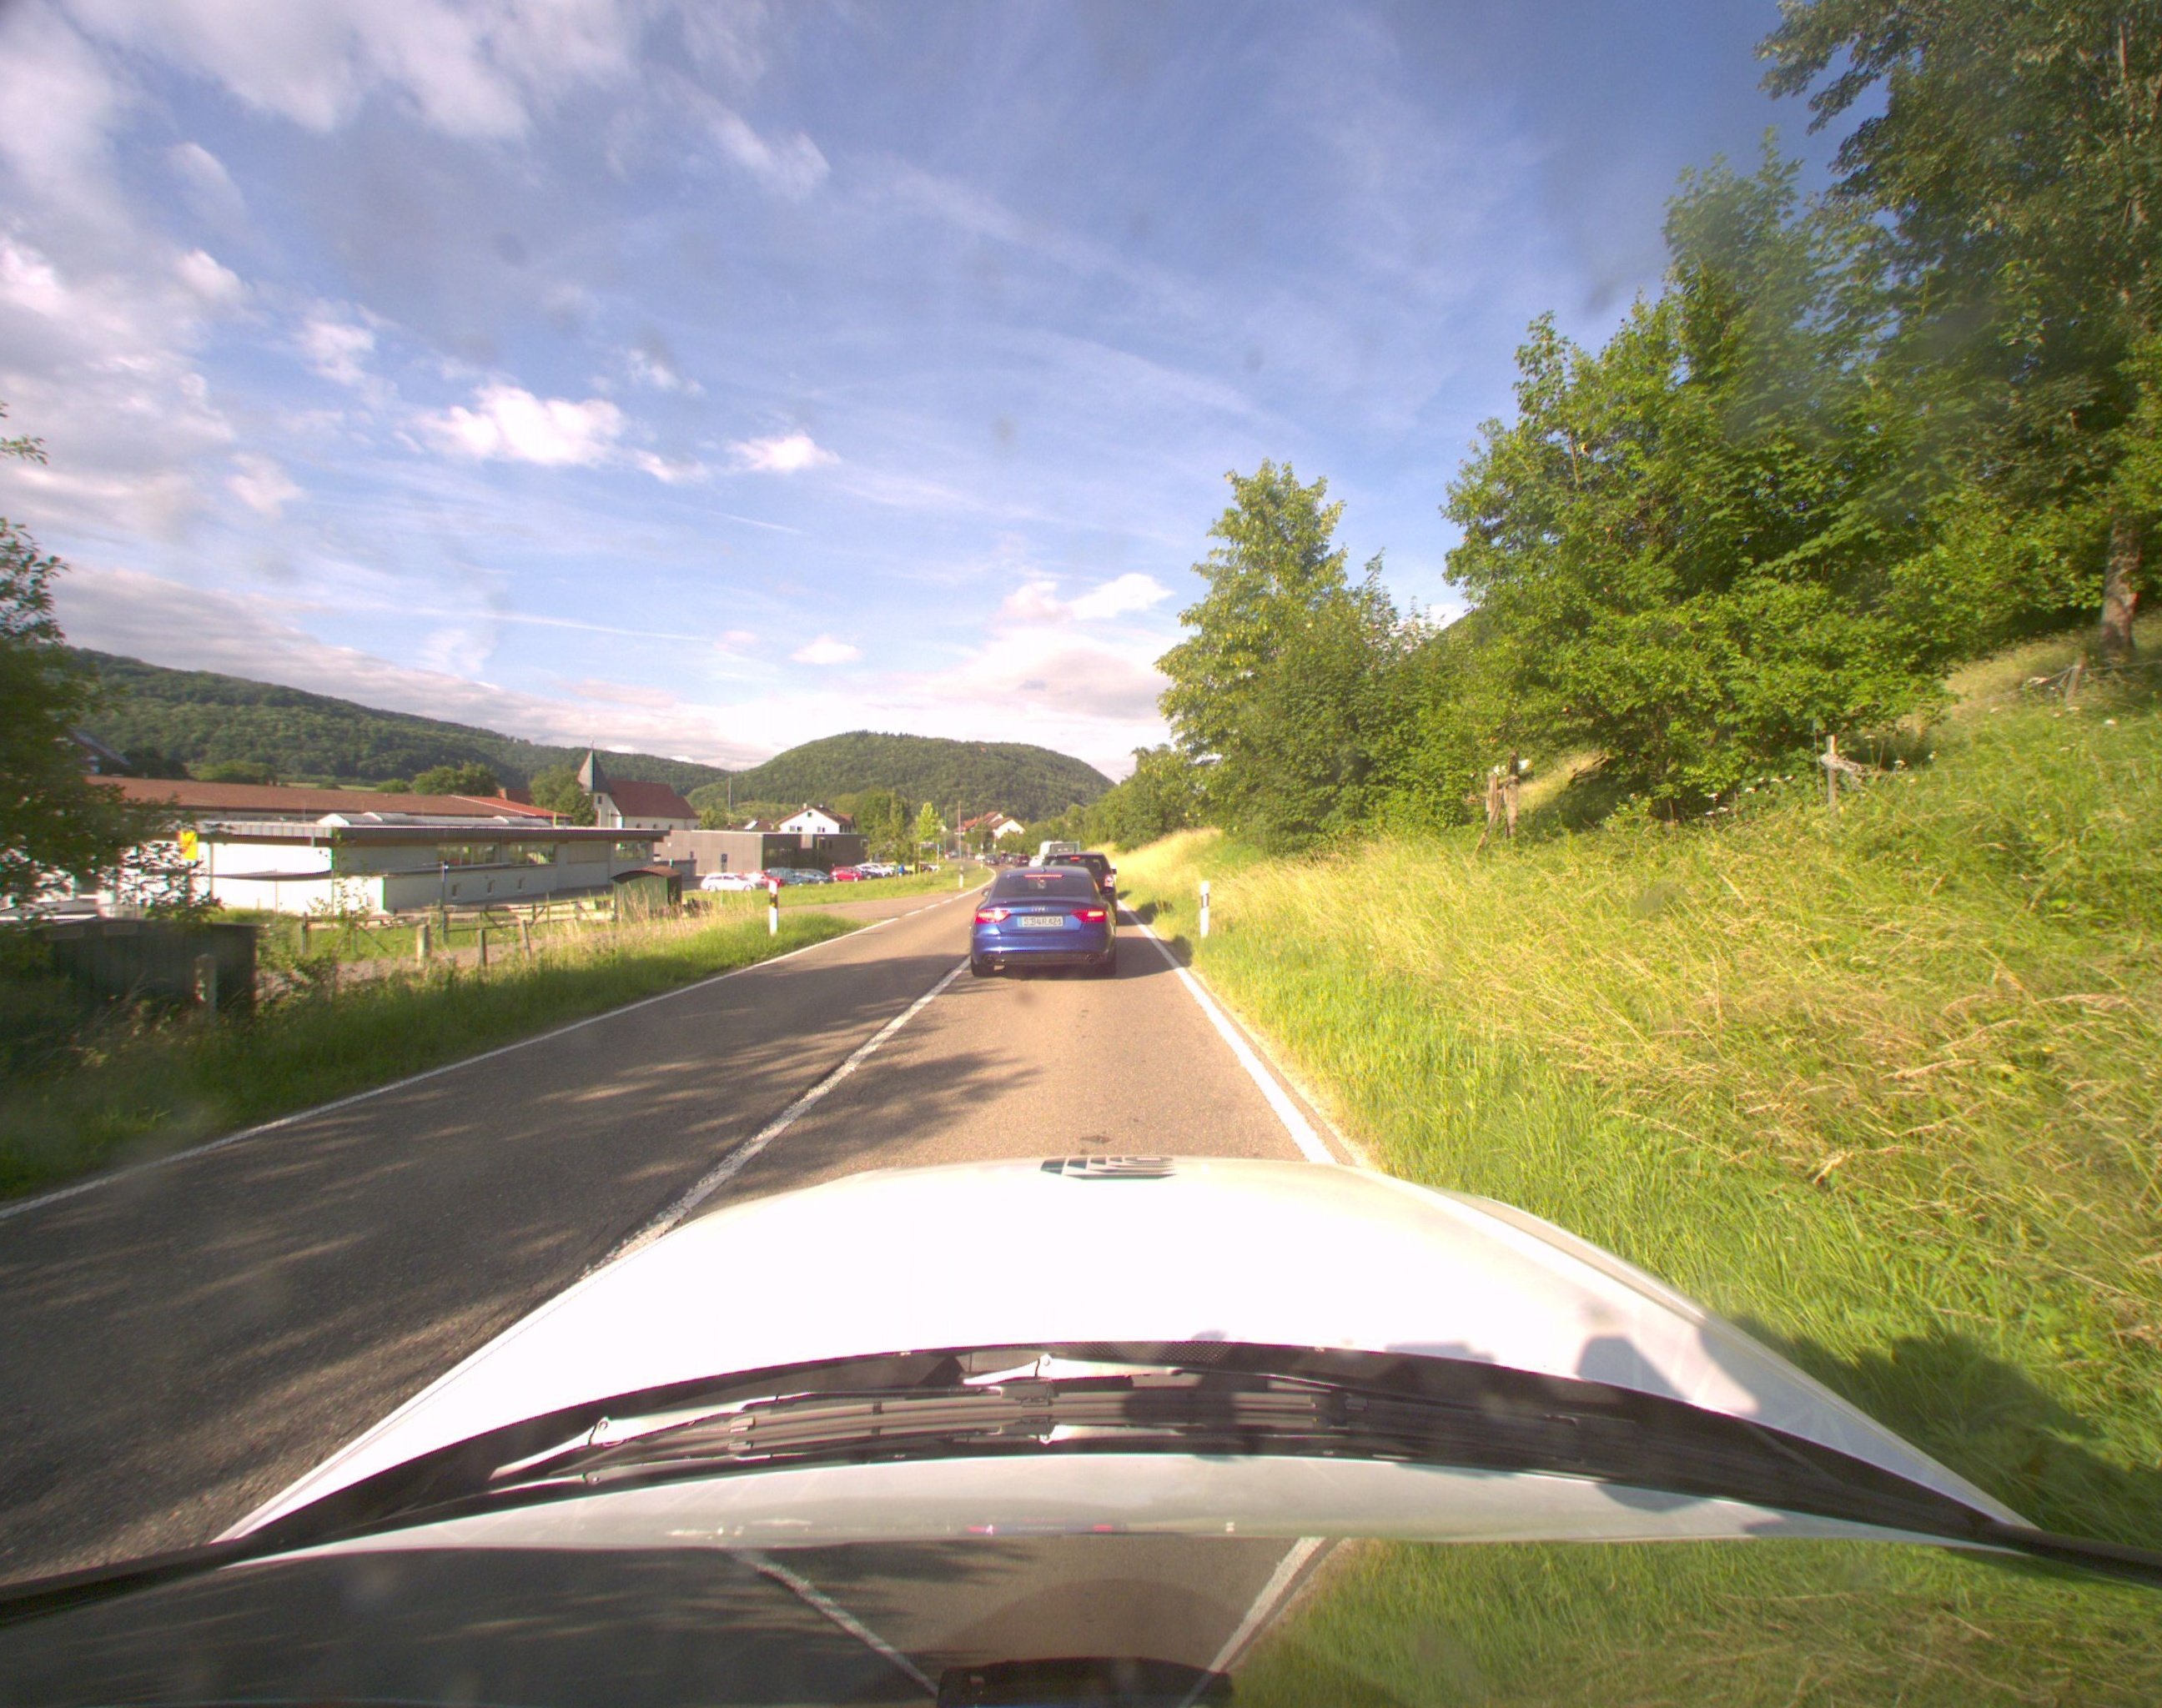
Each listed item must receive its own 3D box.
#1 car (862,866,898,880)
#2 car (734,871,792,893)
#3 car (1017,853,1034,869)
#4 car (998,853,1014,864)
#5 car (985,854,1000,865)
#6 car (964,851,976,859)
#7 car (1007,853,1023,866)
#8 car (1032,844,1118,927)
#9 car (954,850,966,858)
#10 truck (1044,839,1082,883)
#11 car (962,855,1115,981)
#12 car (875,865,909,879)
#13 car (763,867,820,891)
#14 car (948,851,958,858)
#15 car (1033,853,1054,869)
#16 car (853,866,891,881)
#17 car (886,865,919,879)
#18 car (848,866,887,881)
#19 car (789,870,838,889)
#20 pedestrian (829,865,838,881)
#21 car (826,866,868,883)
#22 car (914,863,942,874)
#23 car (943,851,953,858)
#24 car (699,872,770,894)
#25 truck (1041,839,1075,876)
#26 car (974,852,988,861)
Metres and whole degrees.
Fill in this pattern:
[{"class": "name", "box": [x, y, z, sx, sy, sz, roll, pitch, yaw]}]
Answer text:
[{"class": "car", "box": [-24.656, 2.300, 99.911, 3.976, 1.711, 1.999, 0, -1, -2]}, {"class": "car", "box": [-26.436, 2.316, 67.818, 3.976, 1.711, 1.999, 0, -1, -2]}, {"class": "car", "box": [-6.357, 0.810, 93.145, 1.843, 1.712, 3.991, 0, -1, -6]}, {"class": "car", "box": [-11.428, 0.678, 124.278, 1.849, 1.712, 3.980, 0, -1, -15]}, {"class": "car", "box": [-12.030, 0.712, 110.038, 1.705, 1.430, 4.035, 0, -1, -11]}, {"class": "car", "box": [-22.721, 0.175, 166.937, 1.850, 1.712, 3.976, 0, -1, -17]}, {"class": "car", "box": [-9.478, 0.803, 116.798, 1.847, 1.712, 3.982, 0, -1, -13]}, {"class": "car", "box": [-0.065, 0.662, 18.593, 1.748, 1.681, 3.847, -1, -1, 2]}, {"class": "car", "box": [-26.507, 0.020, 178.402, 1.850, 1.712, 3.976, 0, -1, -17]}, {"class": "truck", "box": [-1.122, 0.435, 51.402, 2.223, 2.570, 6.100, 0, -1, -1]}, {"class": "car", "box": [-0.436, 0.754, 11.274, 1.748, 1.430, 3.847, -1, -1, 2]}, {"class": "car", "box": [-24.524, 2.350, 105.698, 3.976, 1.711, 1.999, 0, -1, -2]}, {"class": "car", "box": [-26.124, 2.251, 73.625, 4.394, 2.008, 1.998, 0, -1, -2]}, {"class": "car", "box": [-29.611, 0.086, 188.595, 1.850, 1.712, 3.976, 0, -1, -17]}, {"class": "car", "box": [-3.707, 0.663, 79.241, 1.843, 1.482, 3.991, 0, -1, -6]}, {"class": "car", "box": [-24.799, 2.272, 96.627, 3.976, 1.711, 1.999, 0, -1, -2]}, {"class": "car", "box": [-23.698, 2.364, 108.061, 3.976, 1.711, 1.999, 0, -1, -2]}, {"class": "car", "box": [-24.369, 2.236, 92.969, 3.976, 1.711, 1.999, 0, -1, -2]}, {"class": "car", "box": [-25.512, 2.395, 77.661, 3.976, 1.711, 1.999, 0, -1, -2]}, {"class": "pedestrian", "box": [-30.787, 2.336, 101.199, 0.822, 2.014, 0.973, 0, -1, 0]}, {"class": "car", "box": [-25.327, 2.203, 88.397, 3.976, 1.711, 1.999, 0, -1, -2]}, {"class": "car", "box": [-23.023, 2.146, 122.723, 3.976, 1.579, 1.751, 0, -1, -2]}, {"class": "car", "box": [-32.626, 0.148, 199.081, 1.850, 1.712, 3.976, 0, -1, -17]}, {"class": "car", "box": [-27.562, 2.299, 64.881, 4.718, 1.711, 1.998, 0, -1, -2]}, {"class": "truck", "box": [-1.746, 0.252, 60.543, 2.226, 2.570, 6.697, 0, -1, -4]}, {"class": "car", "box": [-18.810, 0.463, 153.041, 1.850, 1.712, 3.976, 0, -1, -17]}]
